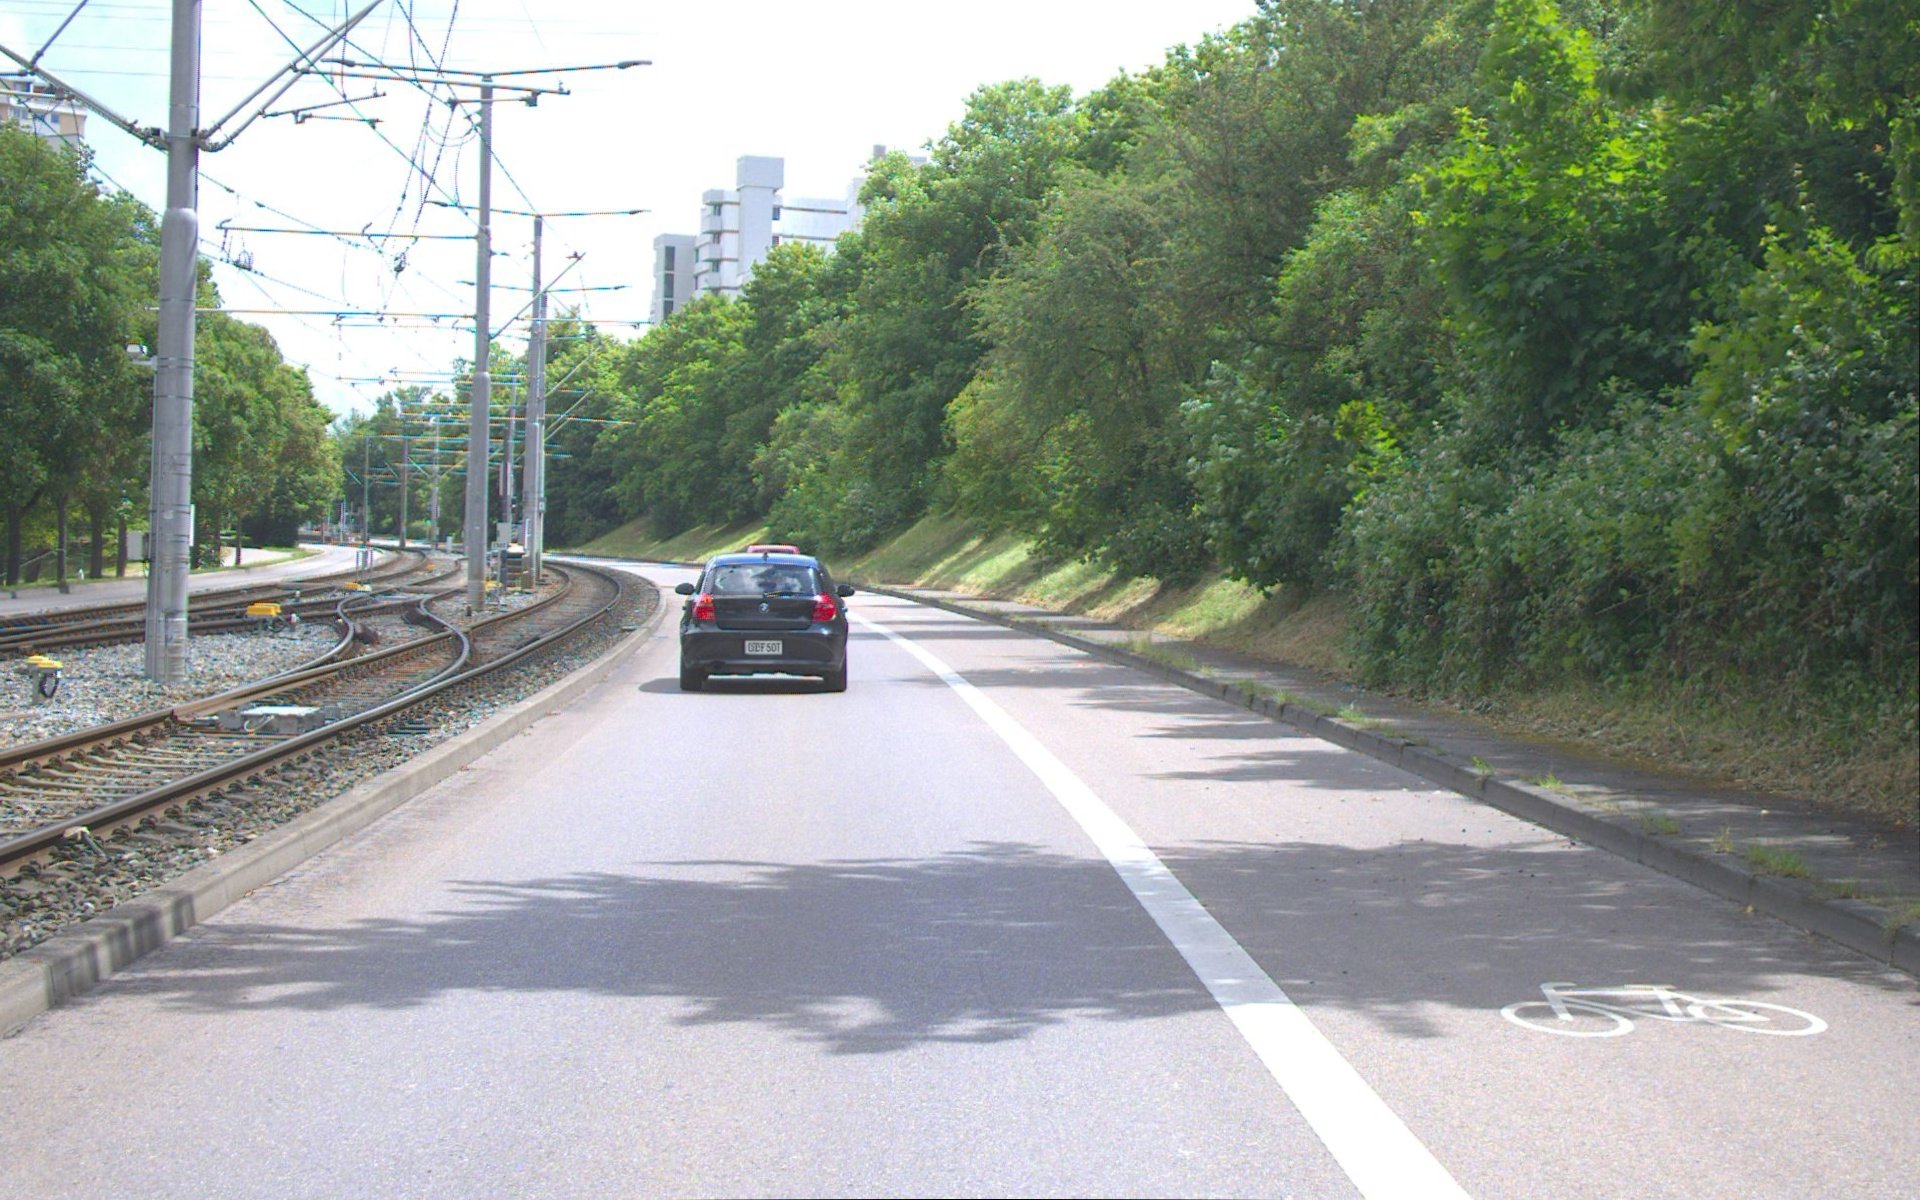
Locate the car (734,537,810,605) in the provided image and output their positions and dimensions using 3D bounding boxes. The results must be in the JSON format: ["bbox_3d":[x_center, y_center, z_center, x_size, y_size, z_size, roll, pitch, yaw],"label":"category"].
[{"bbox_3d":[-4.317,-0.679,78.728,1.624,1.438,3.422,3,1,-4],"label":"car"}]

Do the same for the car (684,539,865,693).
[{"bbox_3d":[-1.908,0.152,36.345,1.708,1.455,3.960,3,0,-1],"label":"car"}]
